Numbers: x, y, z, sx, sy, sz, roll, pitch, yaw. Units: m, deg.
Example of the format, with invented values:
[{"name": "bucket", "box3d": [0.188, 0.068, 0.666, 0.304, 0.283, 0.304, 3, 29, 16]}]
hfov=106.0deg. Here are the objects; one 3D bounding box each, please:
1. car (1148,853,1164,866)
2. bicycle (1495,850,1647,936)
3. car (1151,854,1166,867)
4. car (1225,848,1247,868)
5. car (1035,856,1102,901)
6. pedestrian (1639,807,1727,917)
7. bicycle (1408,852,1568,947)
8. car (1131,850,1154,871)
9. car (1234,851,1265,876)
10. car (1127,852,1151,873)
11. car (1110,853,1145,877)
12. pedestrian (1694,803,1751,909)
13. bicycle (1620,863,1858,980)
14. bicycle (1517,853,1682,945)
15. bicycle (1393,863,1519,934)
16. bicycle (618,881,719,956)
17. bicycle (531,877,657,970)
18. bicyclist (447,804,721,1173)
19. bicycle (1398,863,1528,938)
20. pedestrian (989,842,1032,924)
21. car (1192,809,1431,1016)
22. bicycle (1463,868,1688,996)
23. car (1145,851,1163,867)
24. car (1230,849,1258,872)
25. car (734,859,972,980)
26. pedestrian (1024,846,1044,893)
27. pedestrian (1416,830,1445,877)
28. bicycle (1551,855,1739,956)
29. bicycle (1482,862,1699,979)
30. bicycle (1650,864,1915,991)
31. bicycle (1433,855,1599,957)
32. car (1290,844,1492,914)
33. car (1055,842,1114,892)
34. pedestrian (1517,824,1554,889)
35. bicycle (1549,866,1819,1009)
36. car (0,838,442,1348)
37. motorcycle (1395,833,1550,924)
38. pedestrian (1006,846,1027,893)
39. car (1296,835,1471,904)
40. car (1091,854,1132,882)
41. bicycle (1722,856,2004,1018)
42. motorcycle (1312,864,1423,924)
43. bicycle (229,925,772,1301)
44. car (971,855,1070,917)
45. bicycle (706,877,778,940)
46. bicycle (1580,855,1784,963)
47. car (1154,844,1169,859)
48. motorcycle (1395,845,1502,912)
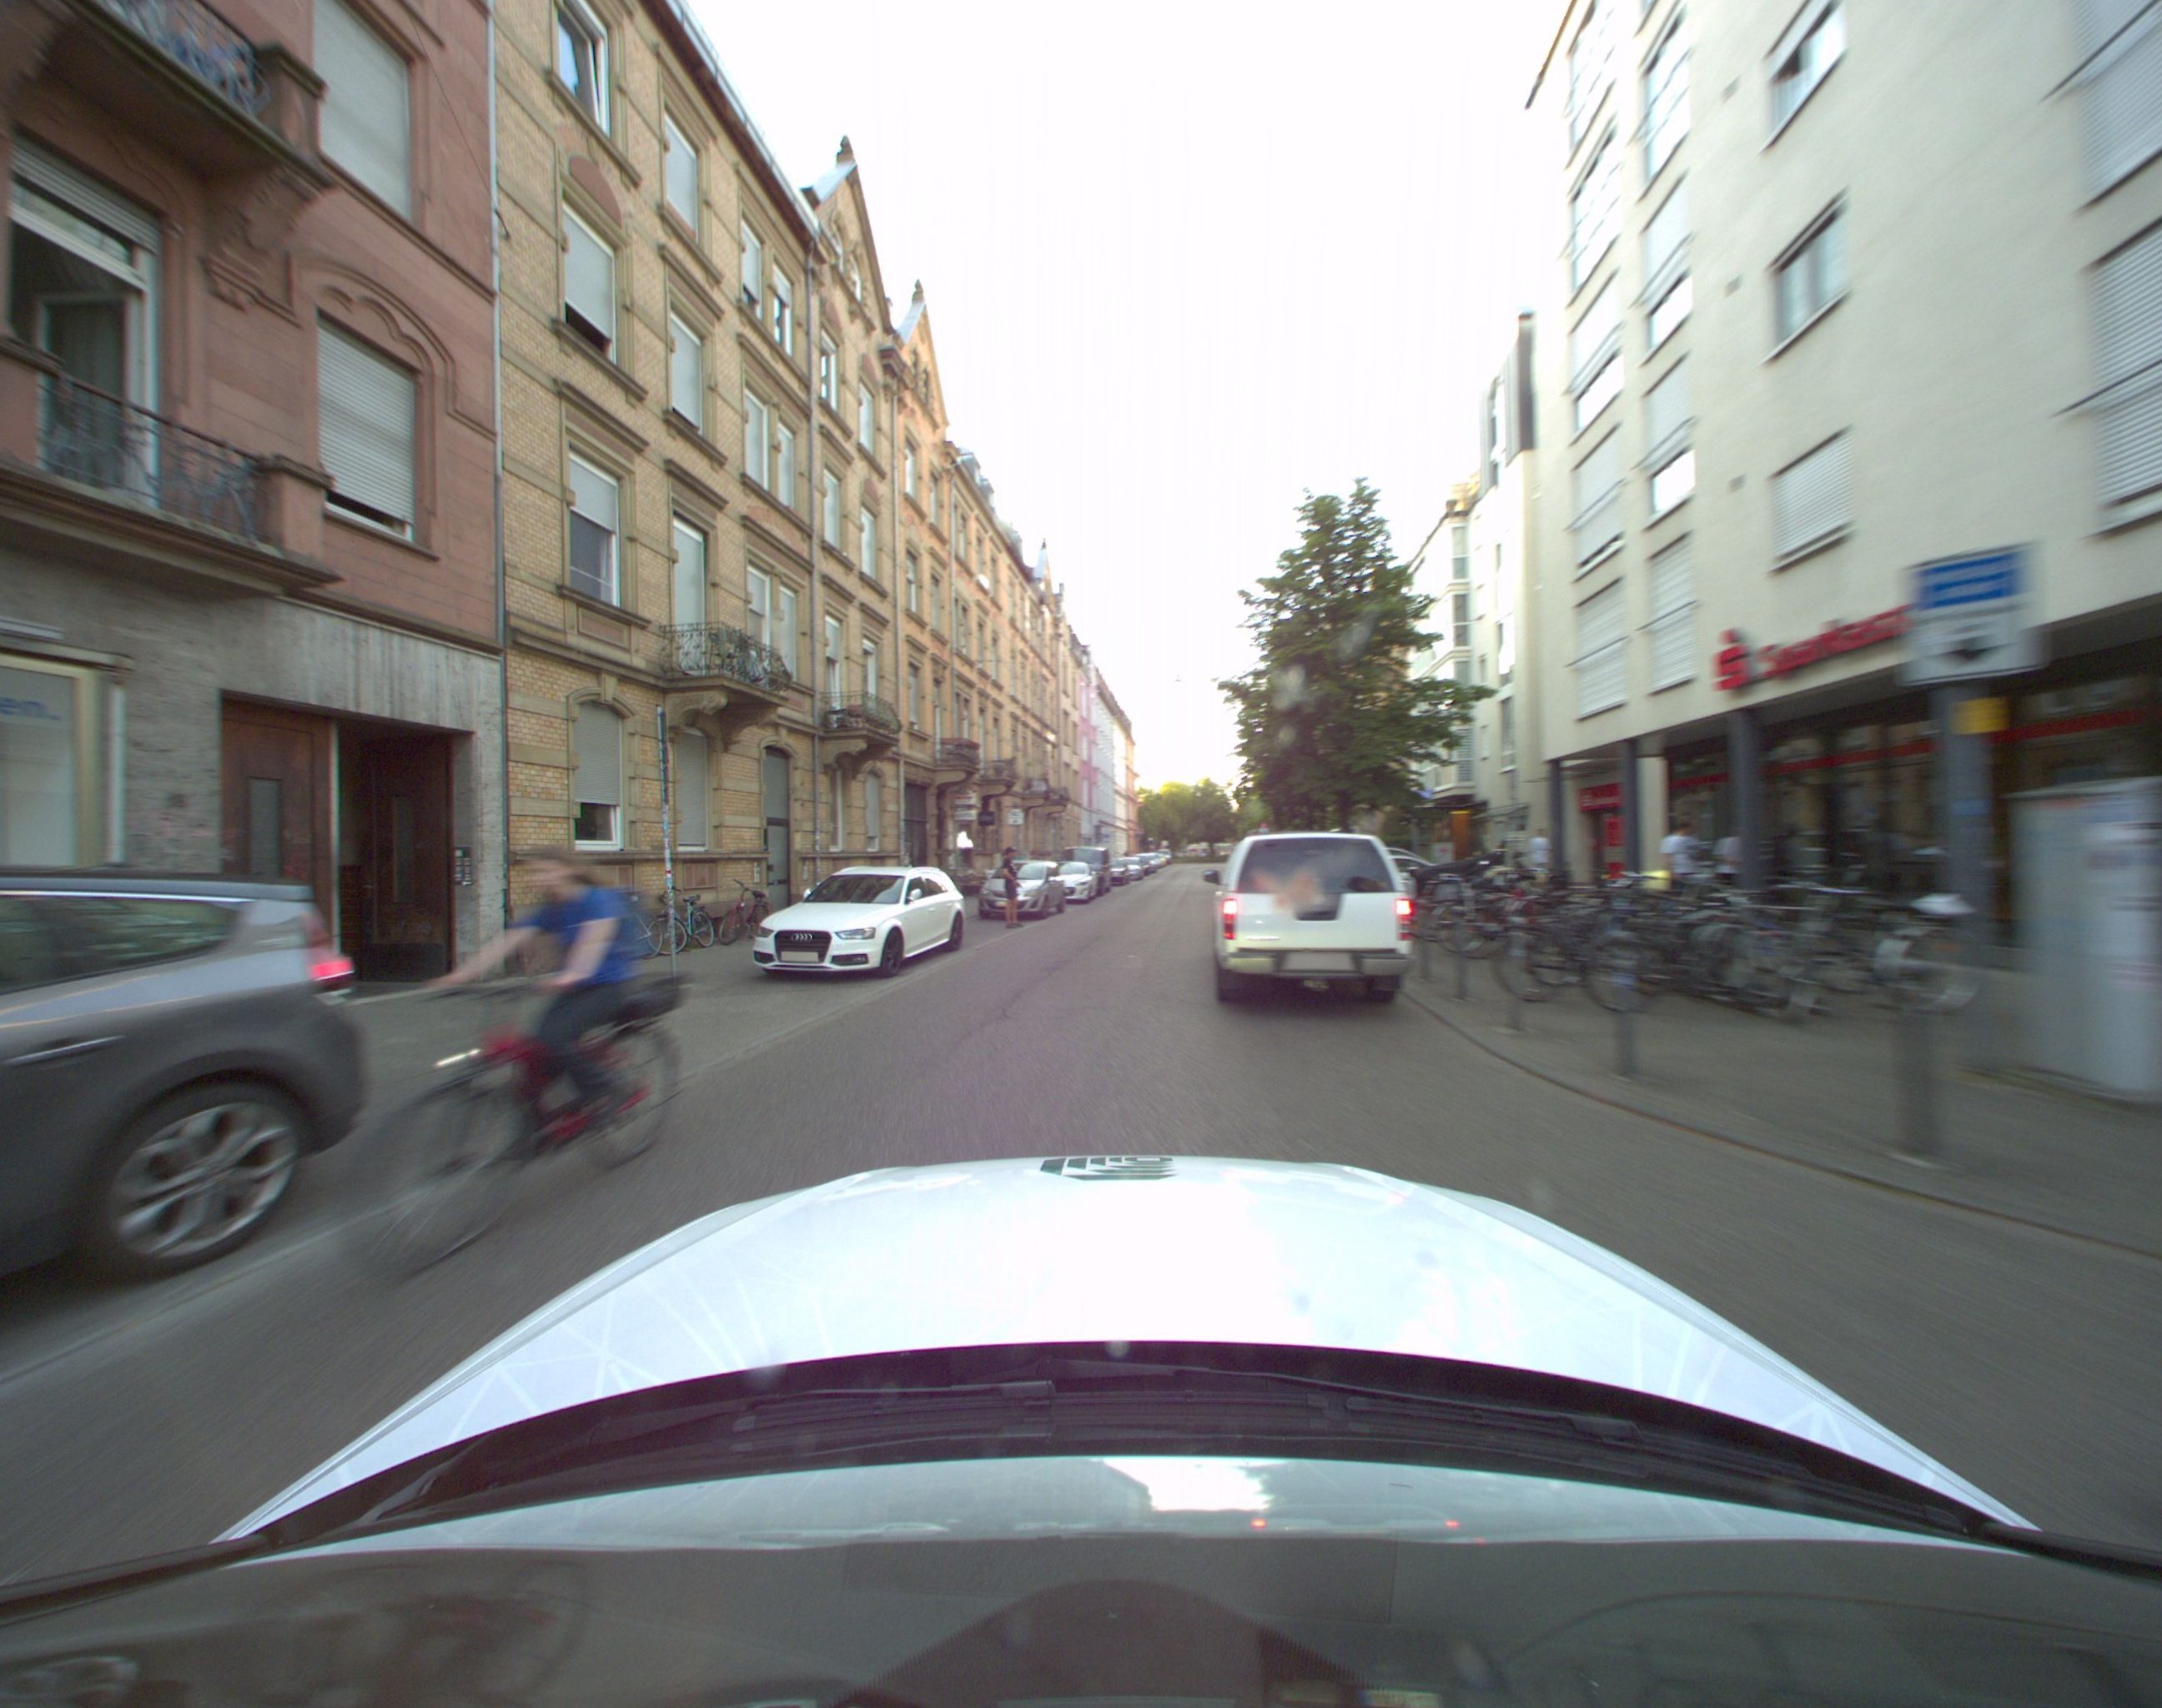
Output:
[{"name": "car", "box3d": [8.322, 0.565, 90.360, 1.690, 1.426, 4.028, 0, 0, 6]}, {"name": "bicycle", "box3d": [7.017, 0.549, 11.728, 1.714, 1.118, 0.654, -3, -1, 5]}, {"name": "car", "box3d": [9.165, 0.739, 96.244, 1.690, 1.552, 4.028, 0, 0, 6]}, {"name": "car", "box3d": [13.297, 0.326, 69.881, 1.666, 1.501, 3.912, -4, -1, 10]}, {"name": "car", "box3d": [-0.356, 0.820, 29.149, 1.774, 1.423, 4.494, 1, 0, 7]}, {"name": "pedestrian", "box3d": [9.945, 0.119, 13.460, 0.779, 1.723, 0.903, -4, 1, -35]}, {"name": "bicycle", "box3d": [5.811, 0.650, 11.746, 1.856, 1.182, 0.745, -5, -2, 13]}, {"name": "car", "box3d": [5.209, 0.563, 68.502, 1.835, 1.659, 4.259, -2, 0, 5]}, {"name": "car", "box3d": [10.987, 0.590, 53.363, 1.666, 1.429, 4.489, -5, -1, 9]}, {"name": "car", "box3d": [4.477, 0.616, 62.221, 1.627, 1.565, 3.789, 0, 0, 7]}, {"name": "car", "box3d": [3.012, 0.677, 52.555, 1.823, 1.458, 4.217, 1, 0, 9]}, {"name": "pedestrian", "box3d": [10.847, 0.022, 13.770, 0.656, 1.723, 0.667, -2, 1, 43]}, {"name": "bicycle", "box3d": [6.565, 0.667, 8.216, 1.711, 1.054, 0.656, -3, -1, 11]}, {"name": "bicycle", "box3d": [6.965, 0.594, 11.005, 1.714, 1.118, 0.654, -3, -1, 5]}, {"name": "bicycle", "box3d": [6.271, 0.739, 13.694, 1.761, 1.022, 0.567, -5, -2, 11]}, {"name": "bicycle", "box3d": [-6.422, 0.978, 12.778, 0.562, 1.036, 1.628, -1, 0, 8]}, {"name": "bicycle", "box3d": [-6.707, 0.919, 11.314, 0.512, 1.132, 1.734, -1, 0, 8]}, {"name": "bicyclist", "box3d": [-2.446, 0.602, 4.107, 0.640, 1.621, 0.922, -3, 0, 15]}, {"name": "bicycle", "box3d": [6.104, 0.740, 13.093, 1.708, 1.031, 0.669, -5, -2, 11]}, {"name": "pedestrian", "box3d": [-1.547, 0.627, 17.995, 0.549, 1.755, 1.027, -1, -1, 19]}, {"name": "car", "box3d": [2.444, 0.533, 10.043, 1.901, 1.853, 5.278, 1, 0, 5]}, {"name": "bicycle", "box3d": [4.819, 0.748, 8.042, 1.713, 1.118, 0.708, -3, -1, 6]}, {"name": "car", "box3d": [7.586, 0.499, 84.372, 1.689, 1.621, 4.031, 0, 0, 8]}, {"name": "car", "box3d": [11.899, 0.452, 59.568, 1.667, 1.456, 4.239, -4, -1, 7]}, {"name": "car", "box3d": [-3.132, 0.815, 12.288, 1.748, 1.412, 4.519, 0, 0, 8]}, {"name": "pedestrian", "box3d": [-1.808, 0.603, 31.453, 0.602, 1.772, 0.778, 1, 1, 4]}, {"name": "pedestrian", "box3d": [13.479, -0.018, 31.418, 0.723, 1.716, 0.965, -3, -1, 8]}, {"name": "bicycle", "box3d": [6.815, 0.616, 9.930, 1.711, 1.118, 0.656, -3, -1, 11]}, {"name": "bicycle", "box3d": [5.417, 0.692, 8.758, 1.800, 1.118, 0.708, -3, -1, 6]}, {"name": "bicycle", "box3d": [6.430, 0.669, 7.555, 1.711, 1.054, 0.656, -3, -1, 11]}, {"name": "bicycle", "box3d": [5.757, 0.690, 10.899, 1.774, 1.182, 0.737, -6, -2, 19]}, {"name": "car", "box3d": [7.772, 0.612, 20.739, 4.406, 1.455, 1.781, -3, 0, 2]}, {"name": "car", "box3d": [0.229, 0.495, 34.442, 1.983, 1.924, 4.959, 1, 0, 6]}, {"name": "pedestrian", "box3d": [12.433, 0.065, 22.290, 0.624, 1.753, 0.587, 0, -1, -3]}, {"name": "bicycle", "box3d": [5.186, 0.712, 7.120, 1.711, 1.118, 0.709, -3, -1, 11]}, {"name": "car", "box3d": [-4.481, 0.776, 2.036, 1.842, 1.633, 4.456, 0, 0, 8]}, {"name": "motorcycle", "box3d": [7.486, 0.475, 15.711, 2.476, 1.549, 0.826, -4, -1, 11]}, {"name": "pedestrian", "box3d": [-2.463, 0.572, 31.187, 0.577, 1.771, 0.999, 1, 1, 4]}, {"name": "car", "box3d": [8.589, 0.443, 23.423, 4.374, 1.647, 1.750, -3, 0, 7]}, {"name": "car", "box3d": [1.690, 0.734, 43.440, 1.727, 1.418, 4.789, 0, -1, 8]}, {"name": "bicycle", "box3d": [6.242, 0.636, 6.544, 1.719, 1.132, 0.578, -3, -1, -4]}, {"name": "motorcycle", "box3d": [5.910, 0.810, 16.843, 2.056, 1.078, 0.662, -3, -1, -7]}, {"name": "bicycle", "box3d": [-2.475, 0.995, 3.923, 0.640, 1.081, 2.177, -3, 0, 15]}, {"name": "car", "box3d": [-1.504, 0.784, 21.766, 1.706, 1.457, 4.011, 0, 0, 10]}, {"name": "bicycle", "box3d": [-6.148, 0.955, 14.847, 0.590, 1.027, 1.624, -1, 0, 1]}, {"name": "bicycle", "box3d": [6.836, 0.623, 9.350, 1.711, 1.118, 0.656, -3, -1, 11]}, {"name": "car", "box3d": [10.324, -0.310, 104.339, 1.802, 1.977, 4.191, 0, 0, 4]}, {"name": "motorcycle", "box3d": [8.403, 0.556, 18.668, 2.048, 1.369, 0.718, -4, 0, 4]}]
